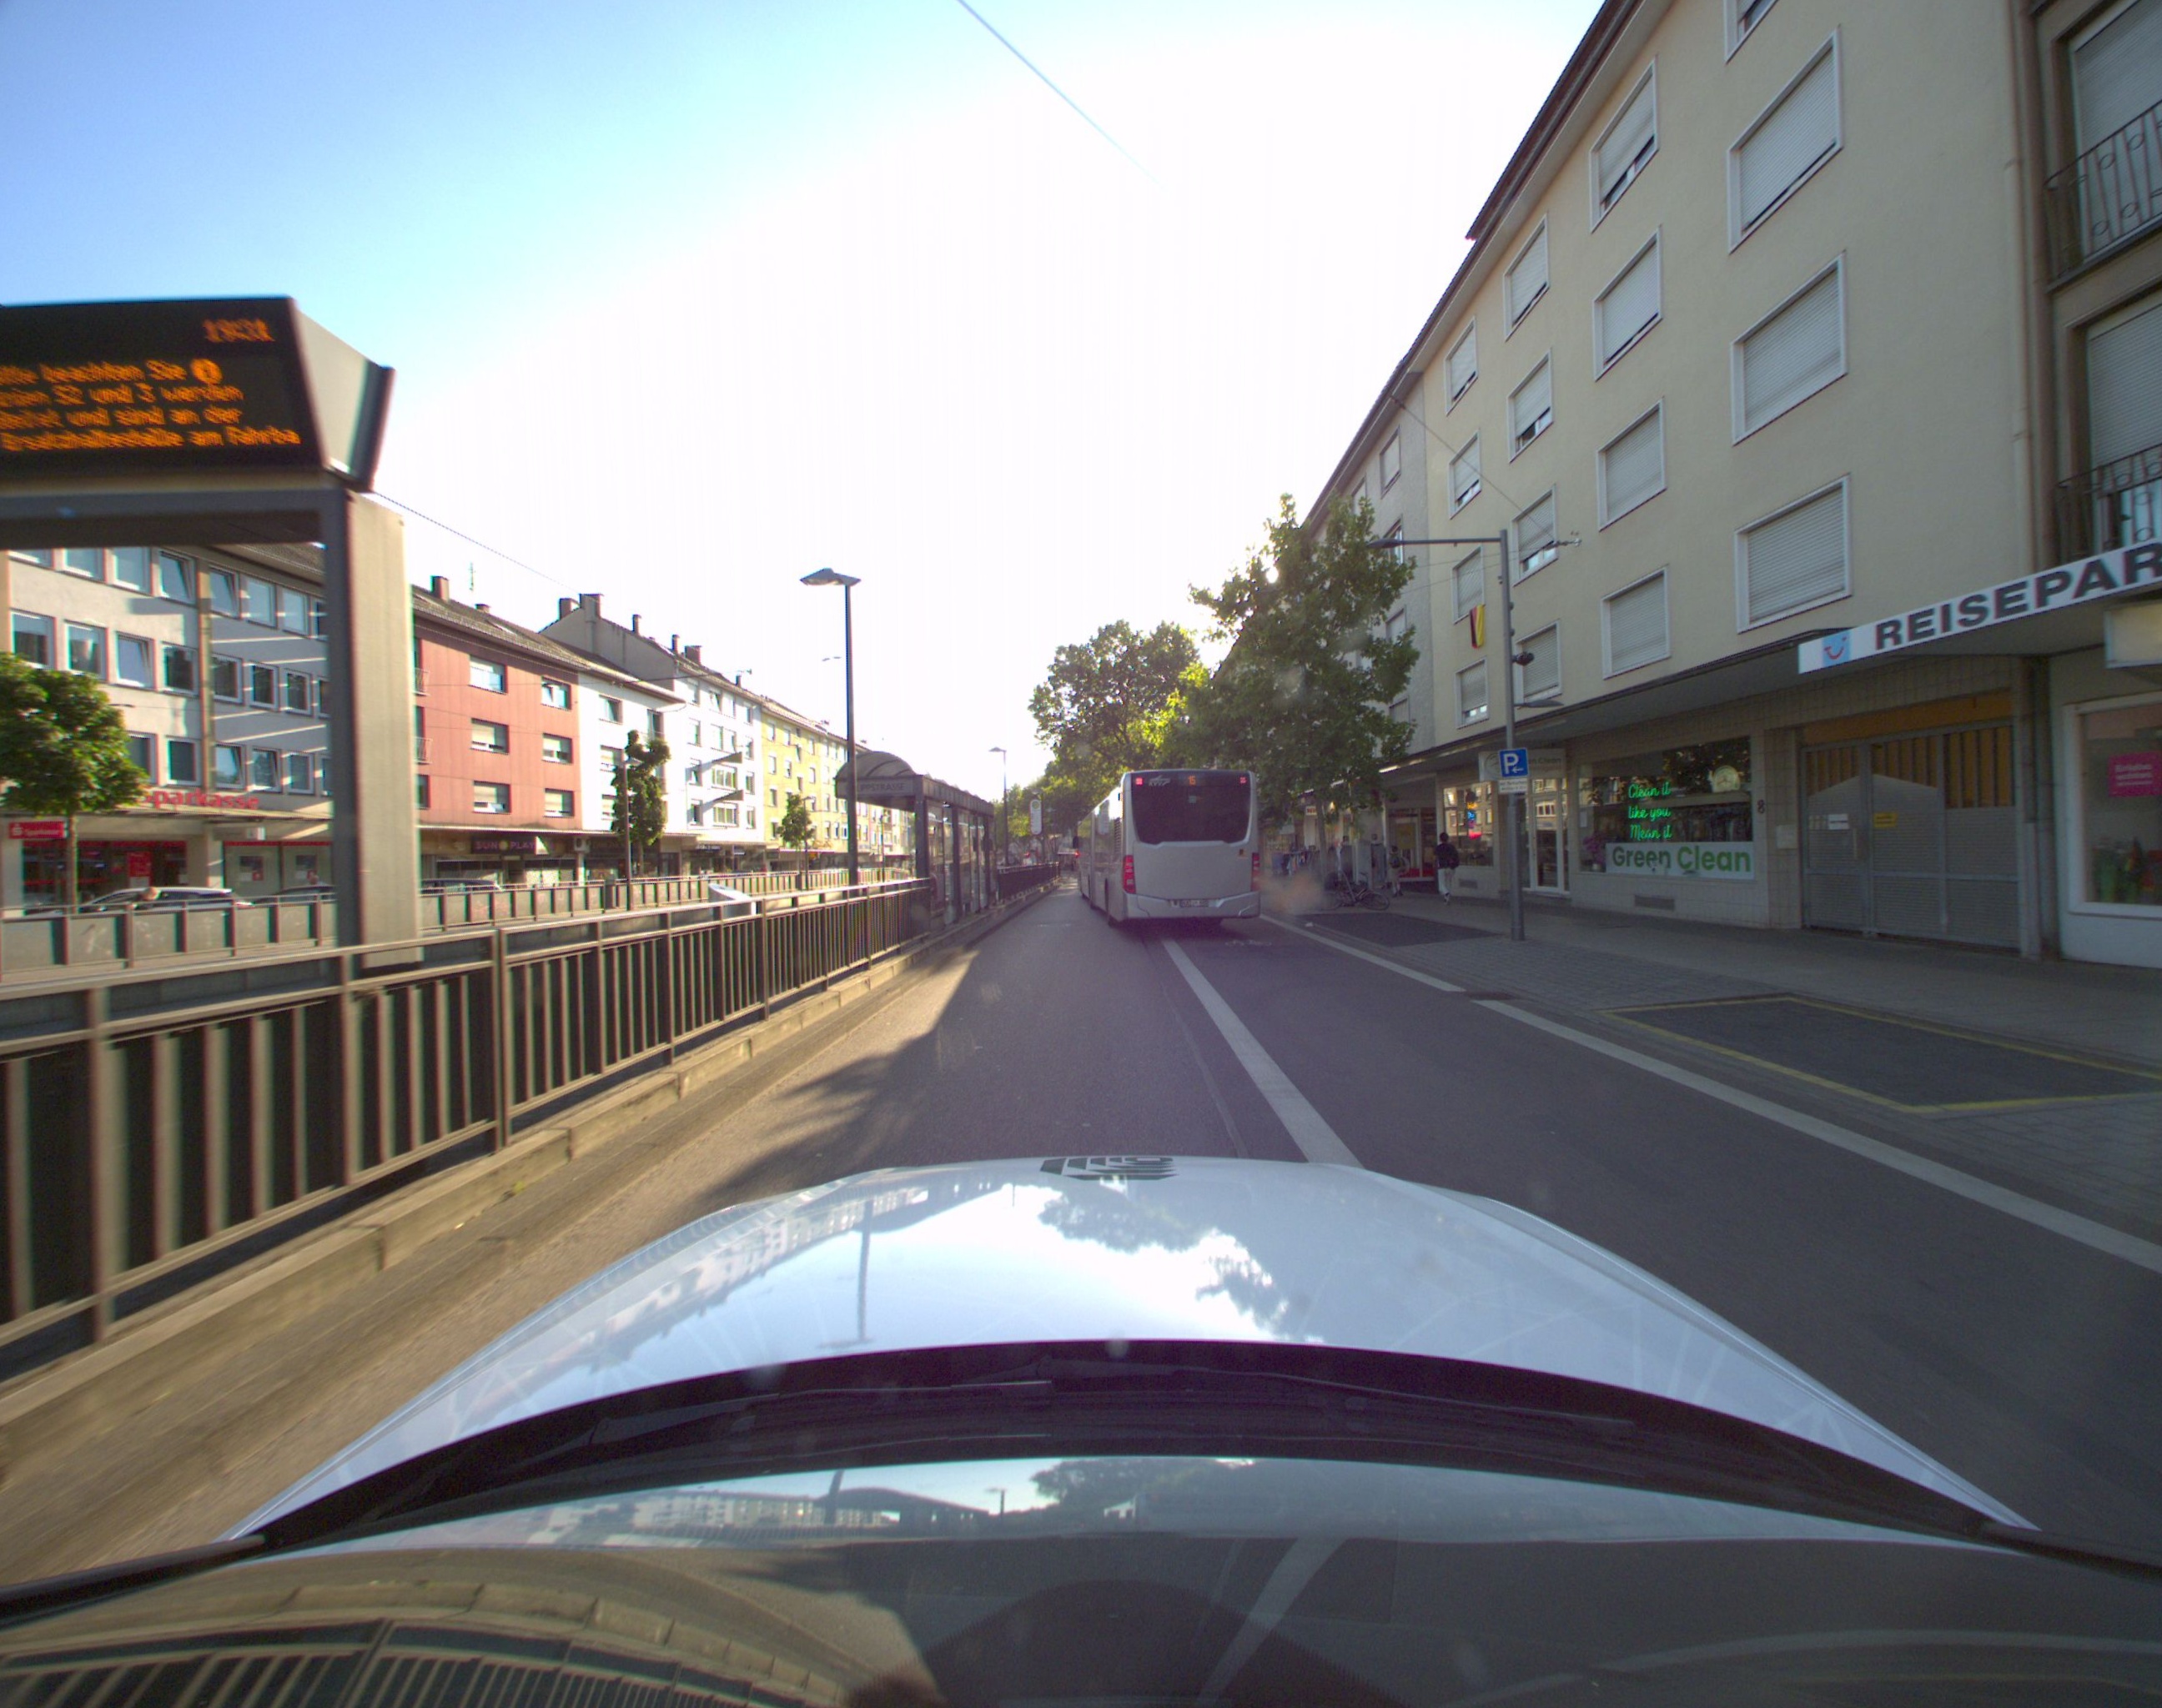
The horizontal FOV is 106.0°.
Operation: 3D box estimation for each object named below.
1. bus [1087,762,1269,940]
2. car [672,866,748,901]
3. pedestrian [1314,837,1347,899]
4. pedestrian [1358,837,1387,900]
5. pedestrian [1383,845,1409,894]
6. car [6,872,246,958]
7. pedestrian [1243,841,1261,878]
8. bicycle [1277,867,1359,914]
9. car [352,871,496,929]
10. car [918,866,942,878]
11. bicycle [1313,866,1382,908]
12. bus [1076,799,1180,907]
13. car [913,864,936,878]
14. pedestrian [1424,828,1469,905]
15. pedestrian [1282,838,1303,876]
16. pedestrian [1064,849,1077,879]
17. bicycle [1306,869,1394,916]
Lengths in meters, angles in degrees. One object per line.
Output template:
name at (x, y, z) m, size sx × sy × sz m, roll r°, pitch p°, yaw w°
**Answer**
bus at (1.746, -0.047, 18.972) m, size 2.690 × 3.118 × 9.371 m, roll 0°, pitch 0°, yaw -3°
car at (-21.607, 1.678, 47.504) m, size 3.532 × 1.679 × 1.749 m, roll -5°, pitch 3°, yaw -44°
pedestrian at (7.511, 0.417, 24.542) m, size 0.721 × 1.795 × 0.767 m, roll -1°, pitch -1°, yaw 1°
pedestrian at (8.467, 0.422, 23.669) m, size 0.562 × 1.795 × 0.767 m, roll -1°, pitch -1°, yaw 1°
pedestrian at (9.060, 0.438, 23.448) m, size 0.473 × 1.394 × 0.612 m, roll -1°, pitch -1°, yaw 1°
car at (-22.249, 1.348, 19.188) m, size 1.748 × 1.679 × 3.532 m, roll -2°, pitch 0°, yaw 43°
pedestrian at (8.574, 0.278, 40.907) m, size 0.721 × 1.795 × 0.767 m, roll -1°, pitch -1°, yaw 1°
bicycle at (6.129, 0.942, 21.034) m, size 1.793 × 0.630 × 0.930 m, roll -5°, pitch -35°, yaw -30°
car at (-21.708, 1.458, 26.970) m, size 3.531 × 1.679 × 1.749 m, roll -2°, pitch 0°, yaw -44°
car at (-26.432, 3.110, 142.816) m, size 3.987 × 2.014 × 1.956 m, roll -1°, pitch 0°, yaw -10°
bicycle at (6.761, 0.827, 20.629) m, size 1.702 × 0.942 × 0.646 m, roll 0°, pitch -10°, yaw -34°
bus at (1.344, -0.012, 28.187) m, size 2.690 × 3.118 × 9.060 m, roll 0°, pitch 0°, yaw -3°
car at (-19.232, 2.029, 100.295) m, size 1.986 × 1.651 × 4.001 m, roll -1°, pitch -1°, yaw 2°
pedestrian at (8.764, 0.289, 19.550) m, size 0.721 × 1.795 × 0.767 m, roll -1°, pitch -1°, yaw 1°
pedestrian at (10.401, 0.153, 39.999) m, size 0.721 × 1.795 × 0.767 m, roll -4°, pitch -1°, yaw 1°
pedestrian at (-0.902, 0.883, 70.630) m, size 0.884 × 2.546 × 1.166 m, roll -2°, pitch -1°, yaw 8°
bicycle at (6.406, 0.909, 19.438) m, size 1.778 × 0.942 × 0.793 m, roll -5°, pitch -1°, yaw -4°
